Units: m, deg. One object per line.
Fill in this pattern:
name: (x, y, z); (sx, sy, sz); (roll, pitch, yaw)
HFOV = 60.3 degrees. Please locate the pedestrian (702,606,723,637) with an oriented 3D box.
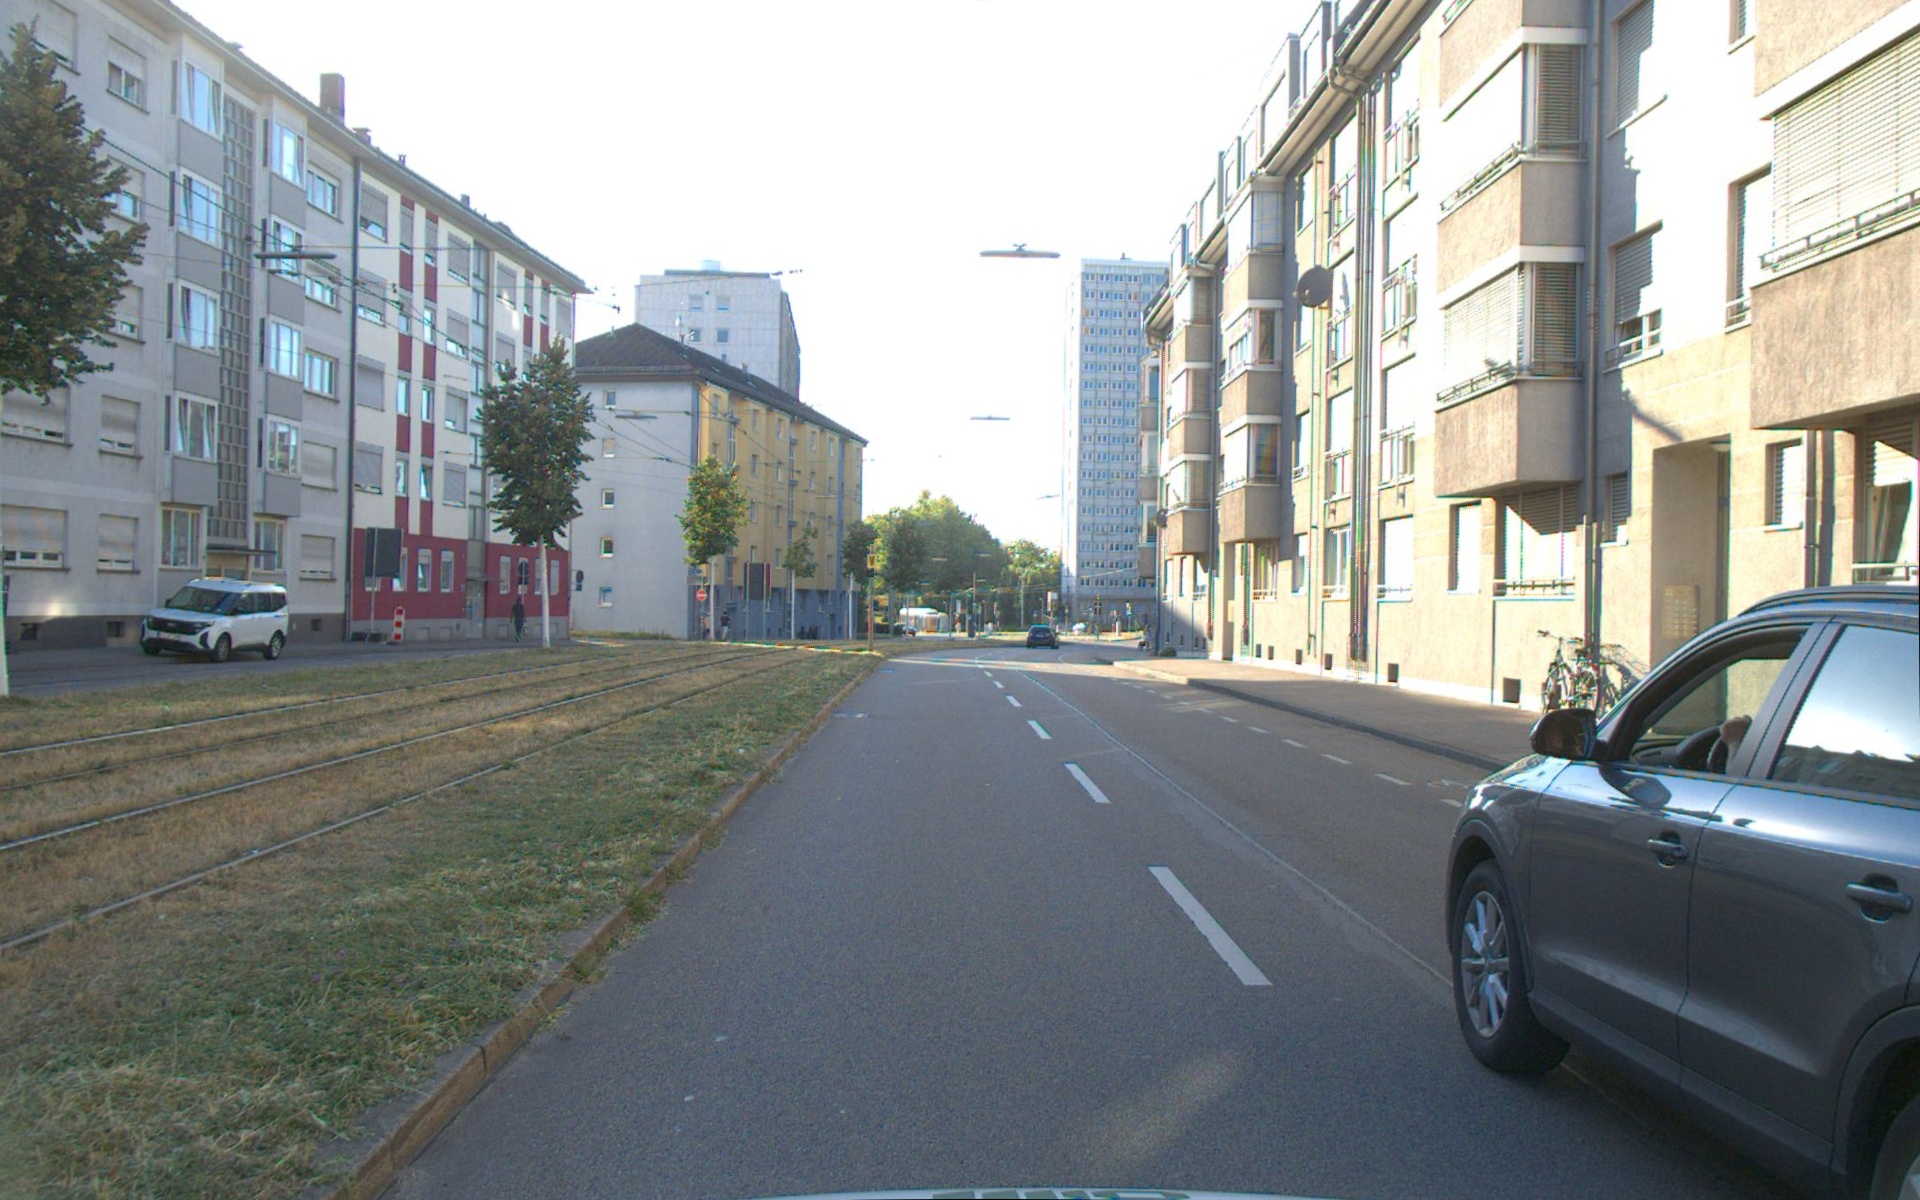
pedestrian: (-14.318, 1.237, 95.765); (0.942, 1.723, 1.011); (2, -1, 5)

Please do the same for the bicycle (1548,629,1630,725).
bicycle: (7.642, 0.917, 20.149); (0.376, 1.115, 1.503); (0, -1, -2)

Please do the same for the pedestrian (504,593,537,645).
pedestrian: (-17.856, 0.786, 67.258); (0.984, 2.071, 0.886); (2, -1, 3)

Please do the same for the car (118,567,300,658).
car: (-17.661, 0.324, 39.180); (1.952, 1.958, 4.543); (2, -1, 3)

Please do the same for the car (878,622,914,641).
car: (-7.262, 3.565, 188.923); (3.903, 2.049, 2.001); (1, 0, 4)

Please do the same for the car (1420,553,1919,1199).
car: (2.621, 0.752, 4.170); (1.663, 1.580, 4.224); (2, -1, -1)

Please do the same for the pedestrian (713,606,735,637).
pedestrian: (-13.646, 1.247, 95.621); (0.942, 1.699, 1.011); (2, -1, 5)

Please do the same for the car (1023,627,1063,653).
car: (5.234, 2.521, 104.282); (1.885, 1.481, 4.331); (2, -1, 11)
